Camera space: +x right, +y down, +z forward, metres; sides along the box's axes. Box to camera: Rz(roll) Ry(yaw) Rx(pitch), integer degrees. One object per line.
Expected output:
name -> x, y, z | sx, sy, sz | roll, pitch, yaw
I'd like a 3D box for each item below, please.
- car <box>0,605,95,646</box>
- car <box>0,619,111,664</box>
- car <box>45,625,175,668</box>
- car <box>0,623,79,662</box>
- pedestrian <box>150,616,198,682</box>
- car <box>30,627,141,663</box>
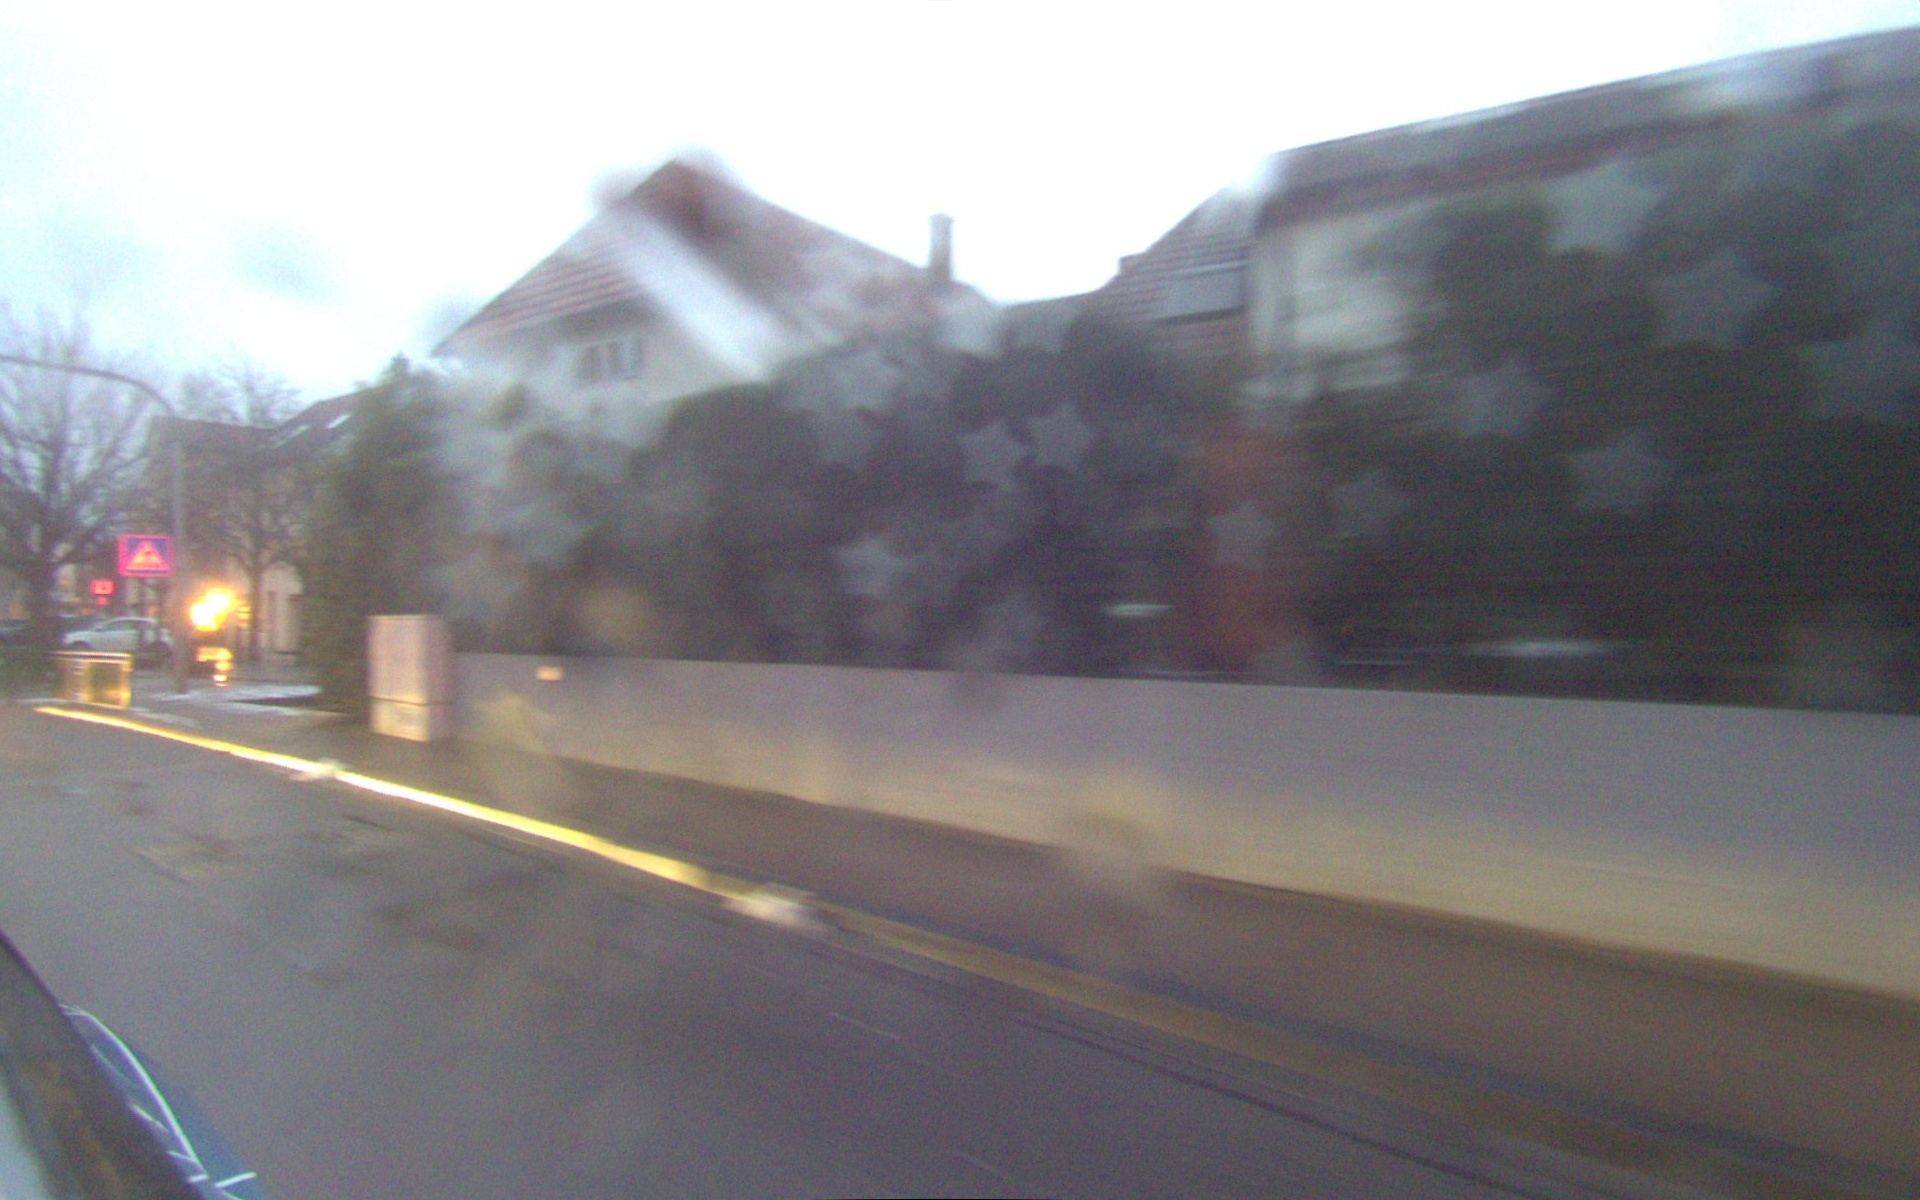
car -> -38.801, 1.072, 42.311 | 3.936, 1.644, 1.637 | 0, -1, -39
car -> -36.385, 1.638, 40.393 | 3.573, 1.624, 1.615 | -2, 0, -30
car -> -31.648, 1.700, 37.810 | 3.425, 1.420, 1.615 | -2, 0, -28
car -> -42.578, 1.923, 45.780 | 3.933, 1.644, 1.639 | 0, -1, -34
pedestrian -> -21.646, 1.332, 27.887 | 0.955, 1.748, 0.870 | -2, -1, 42
car -> -33.852, 1.717, 39.271 | 3.003, 1.229, 1.615 | -2, 0, -30
